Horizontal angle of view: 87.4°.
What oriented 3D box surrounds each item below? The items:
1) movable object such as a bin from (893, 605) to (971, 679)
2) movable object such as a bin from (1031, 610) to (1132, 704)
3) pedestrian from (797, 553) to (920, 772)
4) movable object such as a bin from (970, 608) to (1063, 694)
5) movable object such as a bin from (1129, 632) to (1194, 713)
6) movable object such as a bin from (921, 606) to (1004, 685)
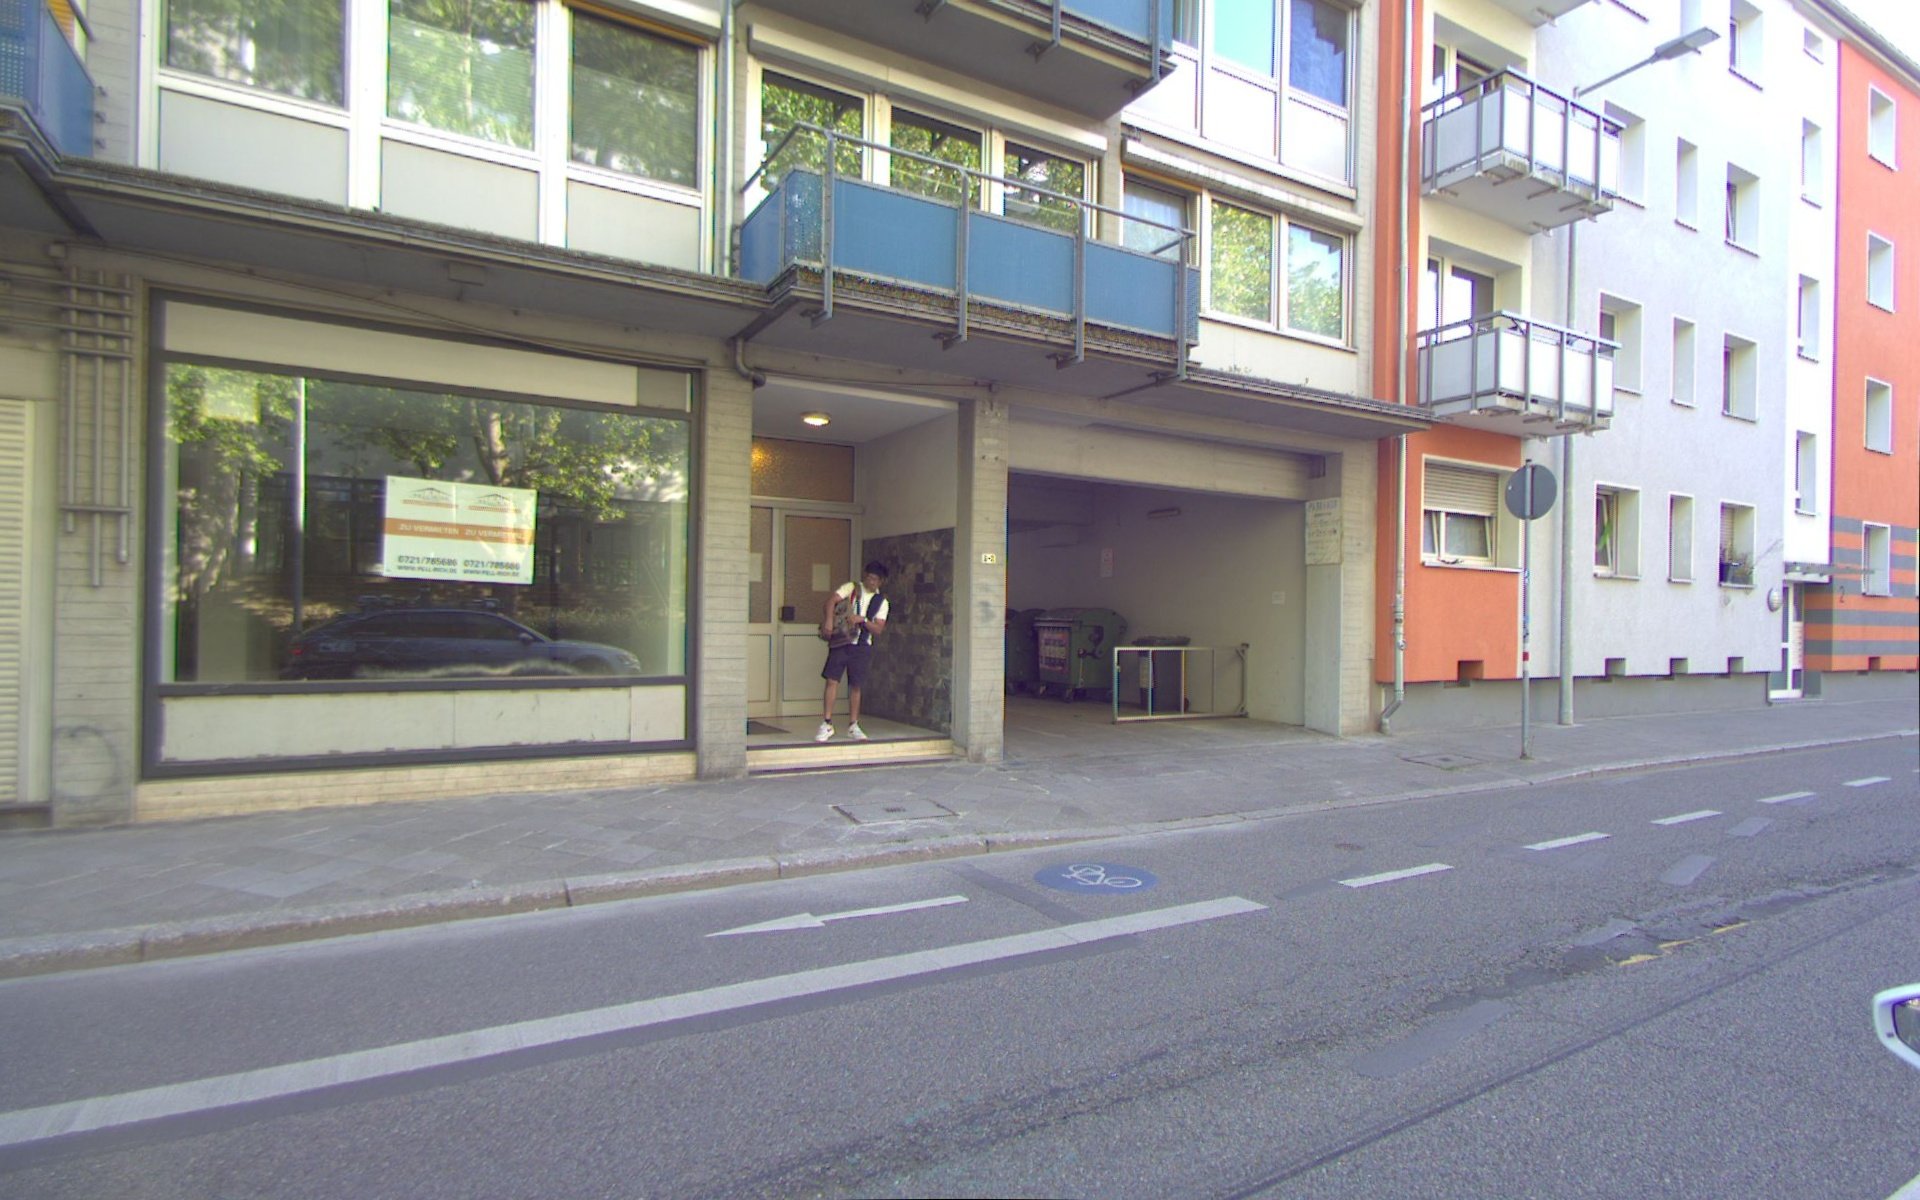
[{"bbox_3d":[-0.567,0.814,19.867,1.066,1.384,1.255,2,0,-27],"label":"movable object such as a bin"},{"bbox_3d":[1.894,0.869,15.814,1.066,1.384,1.192,2,0,-27],"label":"movable object such as a bin"},{"bbox_3d":[-0.943,0.554,9.257,0.882,1.902,0.703,2,0,-28],"label":"pedestrian"},{"bbox_3d":[0.953,0.847,17.128,1.066,1.384,1.255,2,0,-27],"label":"movable object such as a bin"},{"bbox_3d":[2.895,1.028,14.464,0.650,1.115,0.626,2,0,-27],"label":"movable object such as a bin"},{"bbox_3d":[0.042,0.827,18.697,1.066,1.384,1.255,2,0,-27],"label":"movable object such as a bin"}]
